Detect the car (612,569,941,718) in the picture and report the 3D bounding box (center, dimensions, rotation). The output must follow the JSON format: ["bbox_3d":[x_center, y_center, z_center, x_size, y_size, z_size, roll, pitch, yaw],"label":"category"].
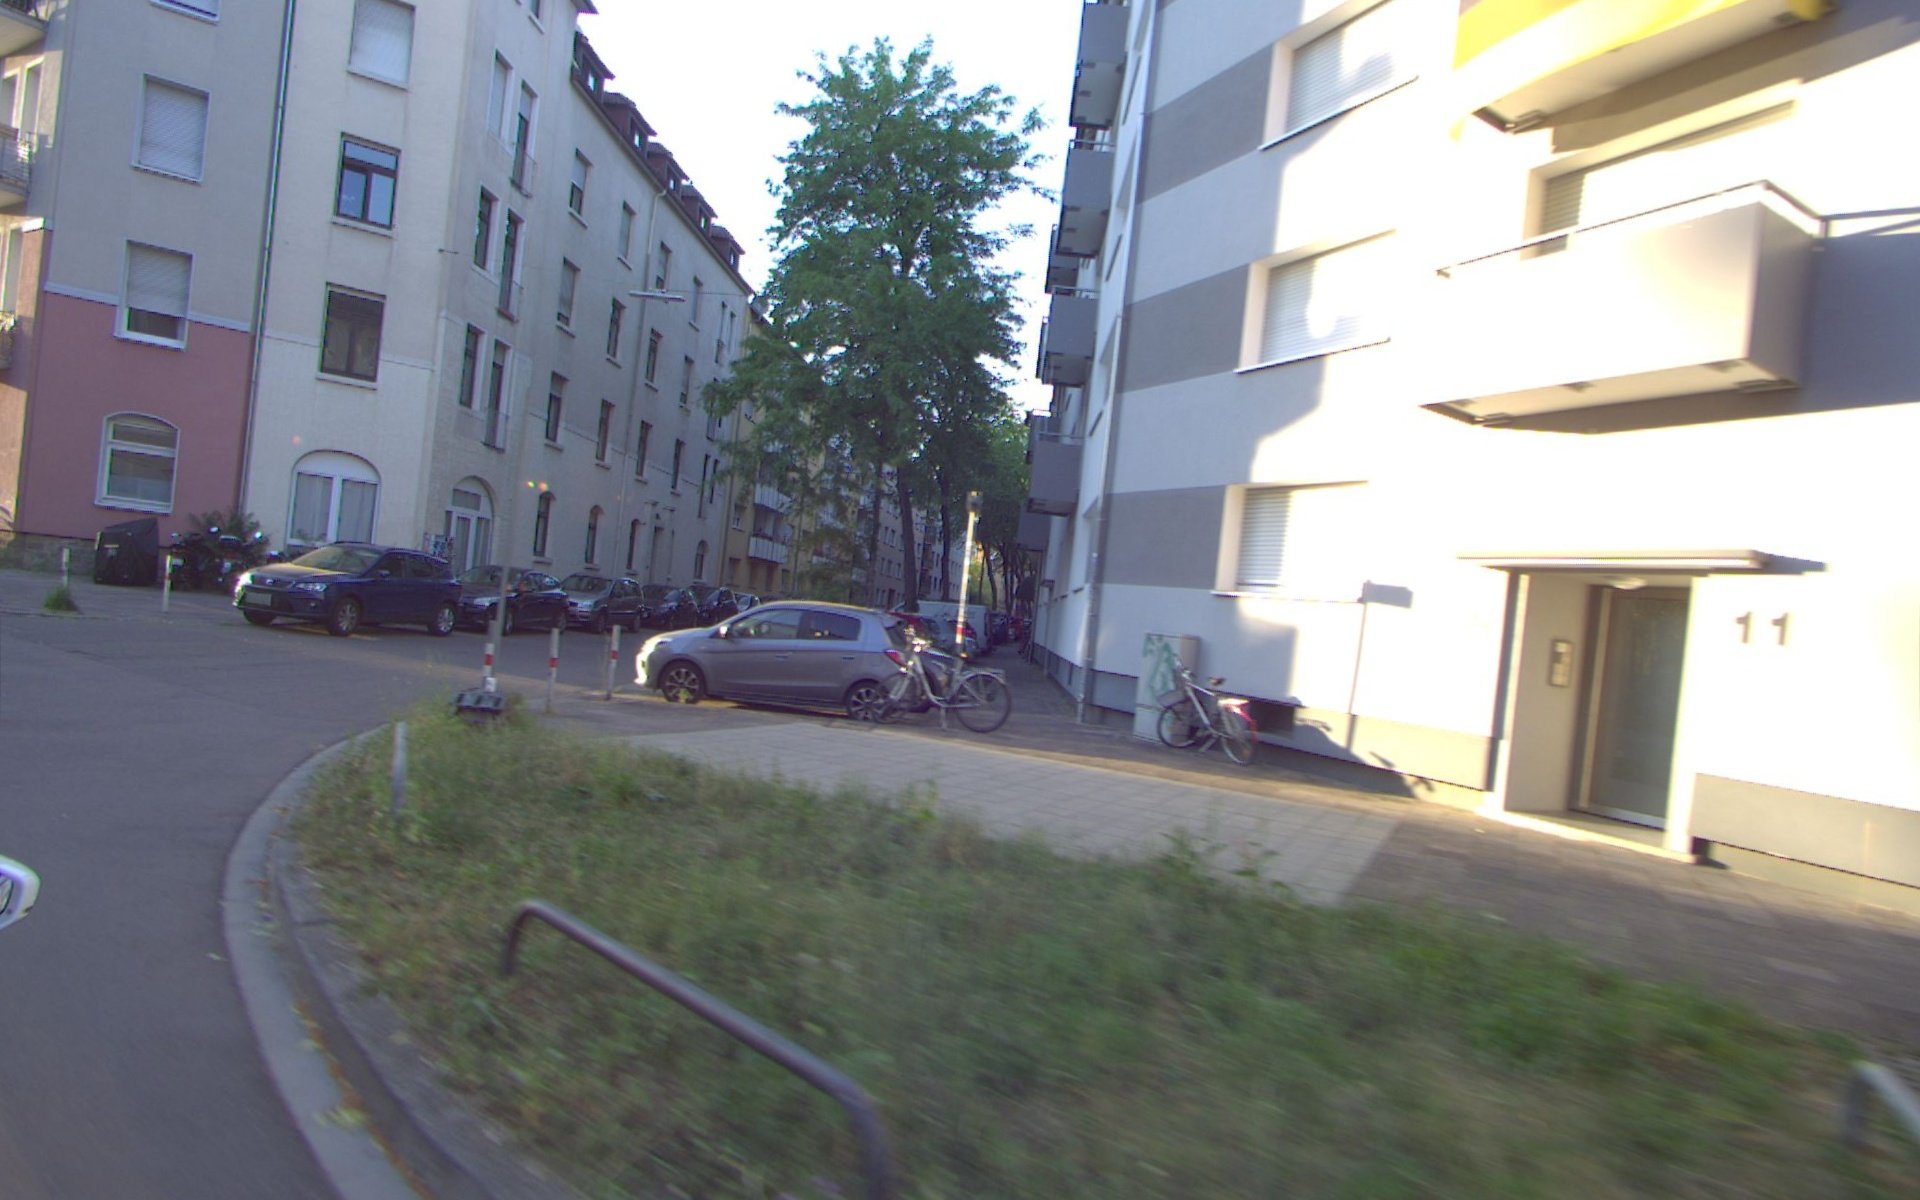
[{"bbox_3d":[-2.351,0.574,13.701,3.924,1.437,2.001,6,-1,3],"label":"car"}]

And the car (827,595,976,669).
[{"bbox_3d":[-1.588,0.902,28.675,3.925,1.604,2.001,6,-1,2],"label":"car"}]

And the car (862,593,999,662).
[{"bbox_3d":[-1.103,1.037,38.350,4.897,2.038,2.190,6,-1,-1],"label":"car"}]

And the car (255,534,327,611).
[{"bbox_3d":[-14.469,-0.597,21.829,0.836,1.474,2.760,6,-1,-26],"label":"car"}]

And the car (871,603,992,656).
[{"bbox_3d":[-0.963,1.046,35.803,3.923,1.415,2.002,6,-1,7],"label":"car"}]

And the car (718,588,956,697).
[{"bbox_3d":[-2.167,0.771,18.584,3.924,1.482,2.001,6,-1,4],"label":"car"}]

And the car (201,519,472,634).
[{"bbox_3d":[-10.700,-0.305,17.661,1.795,1.592,4.003,6,-1,7],"label":"car"}]

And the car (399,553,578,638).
[{"bbox_3d":[-10.368,-0.036,22.501,1.934,1.523,4.002,6,-1,1],"label":"car"}]

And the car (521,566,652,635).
[{"bbox_3d":[-9.997,0.058,27.296,1.936,1.523,4.001,6,-1,0],"label":"car"}]

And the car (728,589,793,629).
[{"bbox_3d":[-9.419,0.452,47.859,1.962,1.604,4.003,6,-1,3],"label":"car"}]

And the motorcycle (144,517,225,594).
[{"bbox_3d":[-16.212,-0.912,21.101,0.735,1.452,2.339,6,-1,-25],"label":"motorcycle"}]

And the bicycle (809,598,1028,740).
[{"bbox_3d":[-0.491,0.828,12.184,2.458,1.400,0.516,6,0,0],"label":"bicycle"}]

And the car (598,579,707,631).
[{"bbox_3d":[-9.994,0.210,33.039,2.055,1.370,4.003,6,-1,3],"label":"car"}]

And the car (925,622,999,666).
[{"bbox_3d":[0.136,2.637,59.860,3.923,2.036,2.003,7,-2,11],"label":"car"}]

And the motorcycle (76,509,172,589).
[{"bbox_3d":[-16.970,-1.011,20.499,0.828,1.452,2.339,6,-1,-25],"label":"motorcycle"}]

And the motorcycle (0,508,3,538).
[{"bbox_3d":[-21.021,-1.399,21.005,2.608,1.250,0.743,6,0,31],"label":"motorcycle"}]

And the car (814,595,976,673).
[{"bbox_3d":[-1.618,0.889,26.371,3.925,1.548,2.001,6,-1,2],"label":"car"}]

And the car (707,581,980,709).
[{"bbox_3d":[-1.762,0.703,16.079,3.924,1.504,1.848,6,-1,4],"label":"car"}]

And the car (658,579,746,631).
[{"bbox_3d":[-9.666,0.235,38.018,1.962,1.670,4.003,6,-1,3],"label":"car"}]

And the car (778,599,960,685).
[{"bbox_3d":[-2.070,0.978,23.758,3.925,1.534,2.001,6,-1,2],"label":"car"}]

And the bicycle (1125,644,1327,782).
[{"bbox_3d":[3.067,1.280,11.928,0.690,1.288,2.436,7,-1,-29],"label":"bicycle"}]

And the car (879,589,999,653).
[{"bbox_3d":[-0.867,0.901,43.504,4.884,2.166,2.001,6,-1,2],"label":"car"}]

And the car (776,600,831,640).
[{"bbox_3d":[-8.231,1.073,53.216,1.962,1.804,4.003,6,-1,3],"label":"car"}]

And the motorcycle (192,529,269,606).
[{"bbox_3d":[-15.481,-0.685,21.430,0.735,1.452,2.637,6,-1,-25],"label":"motorcycle"}]

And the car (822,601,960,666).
[{"bbox_3d":[-2.094,1.041,31.353,3.924,1.548,2.001,6,-1,3],"label":"car"}]

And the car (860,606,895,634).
[{"bbox_3d":[-6.207,1.526,76.009,1.962,1.804,4.003,6,-1,3],"label":"car"}]

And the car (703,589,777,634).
[{"bbox_3d":[-9.303,0.529,42.909,1.962,1.604,4.003,6,-1,3],"label":"car"}]
